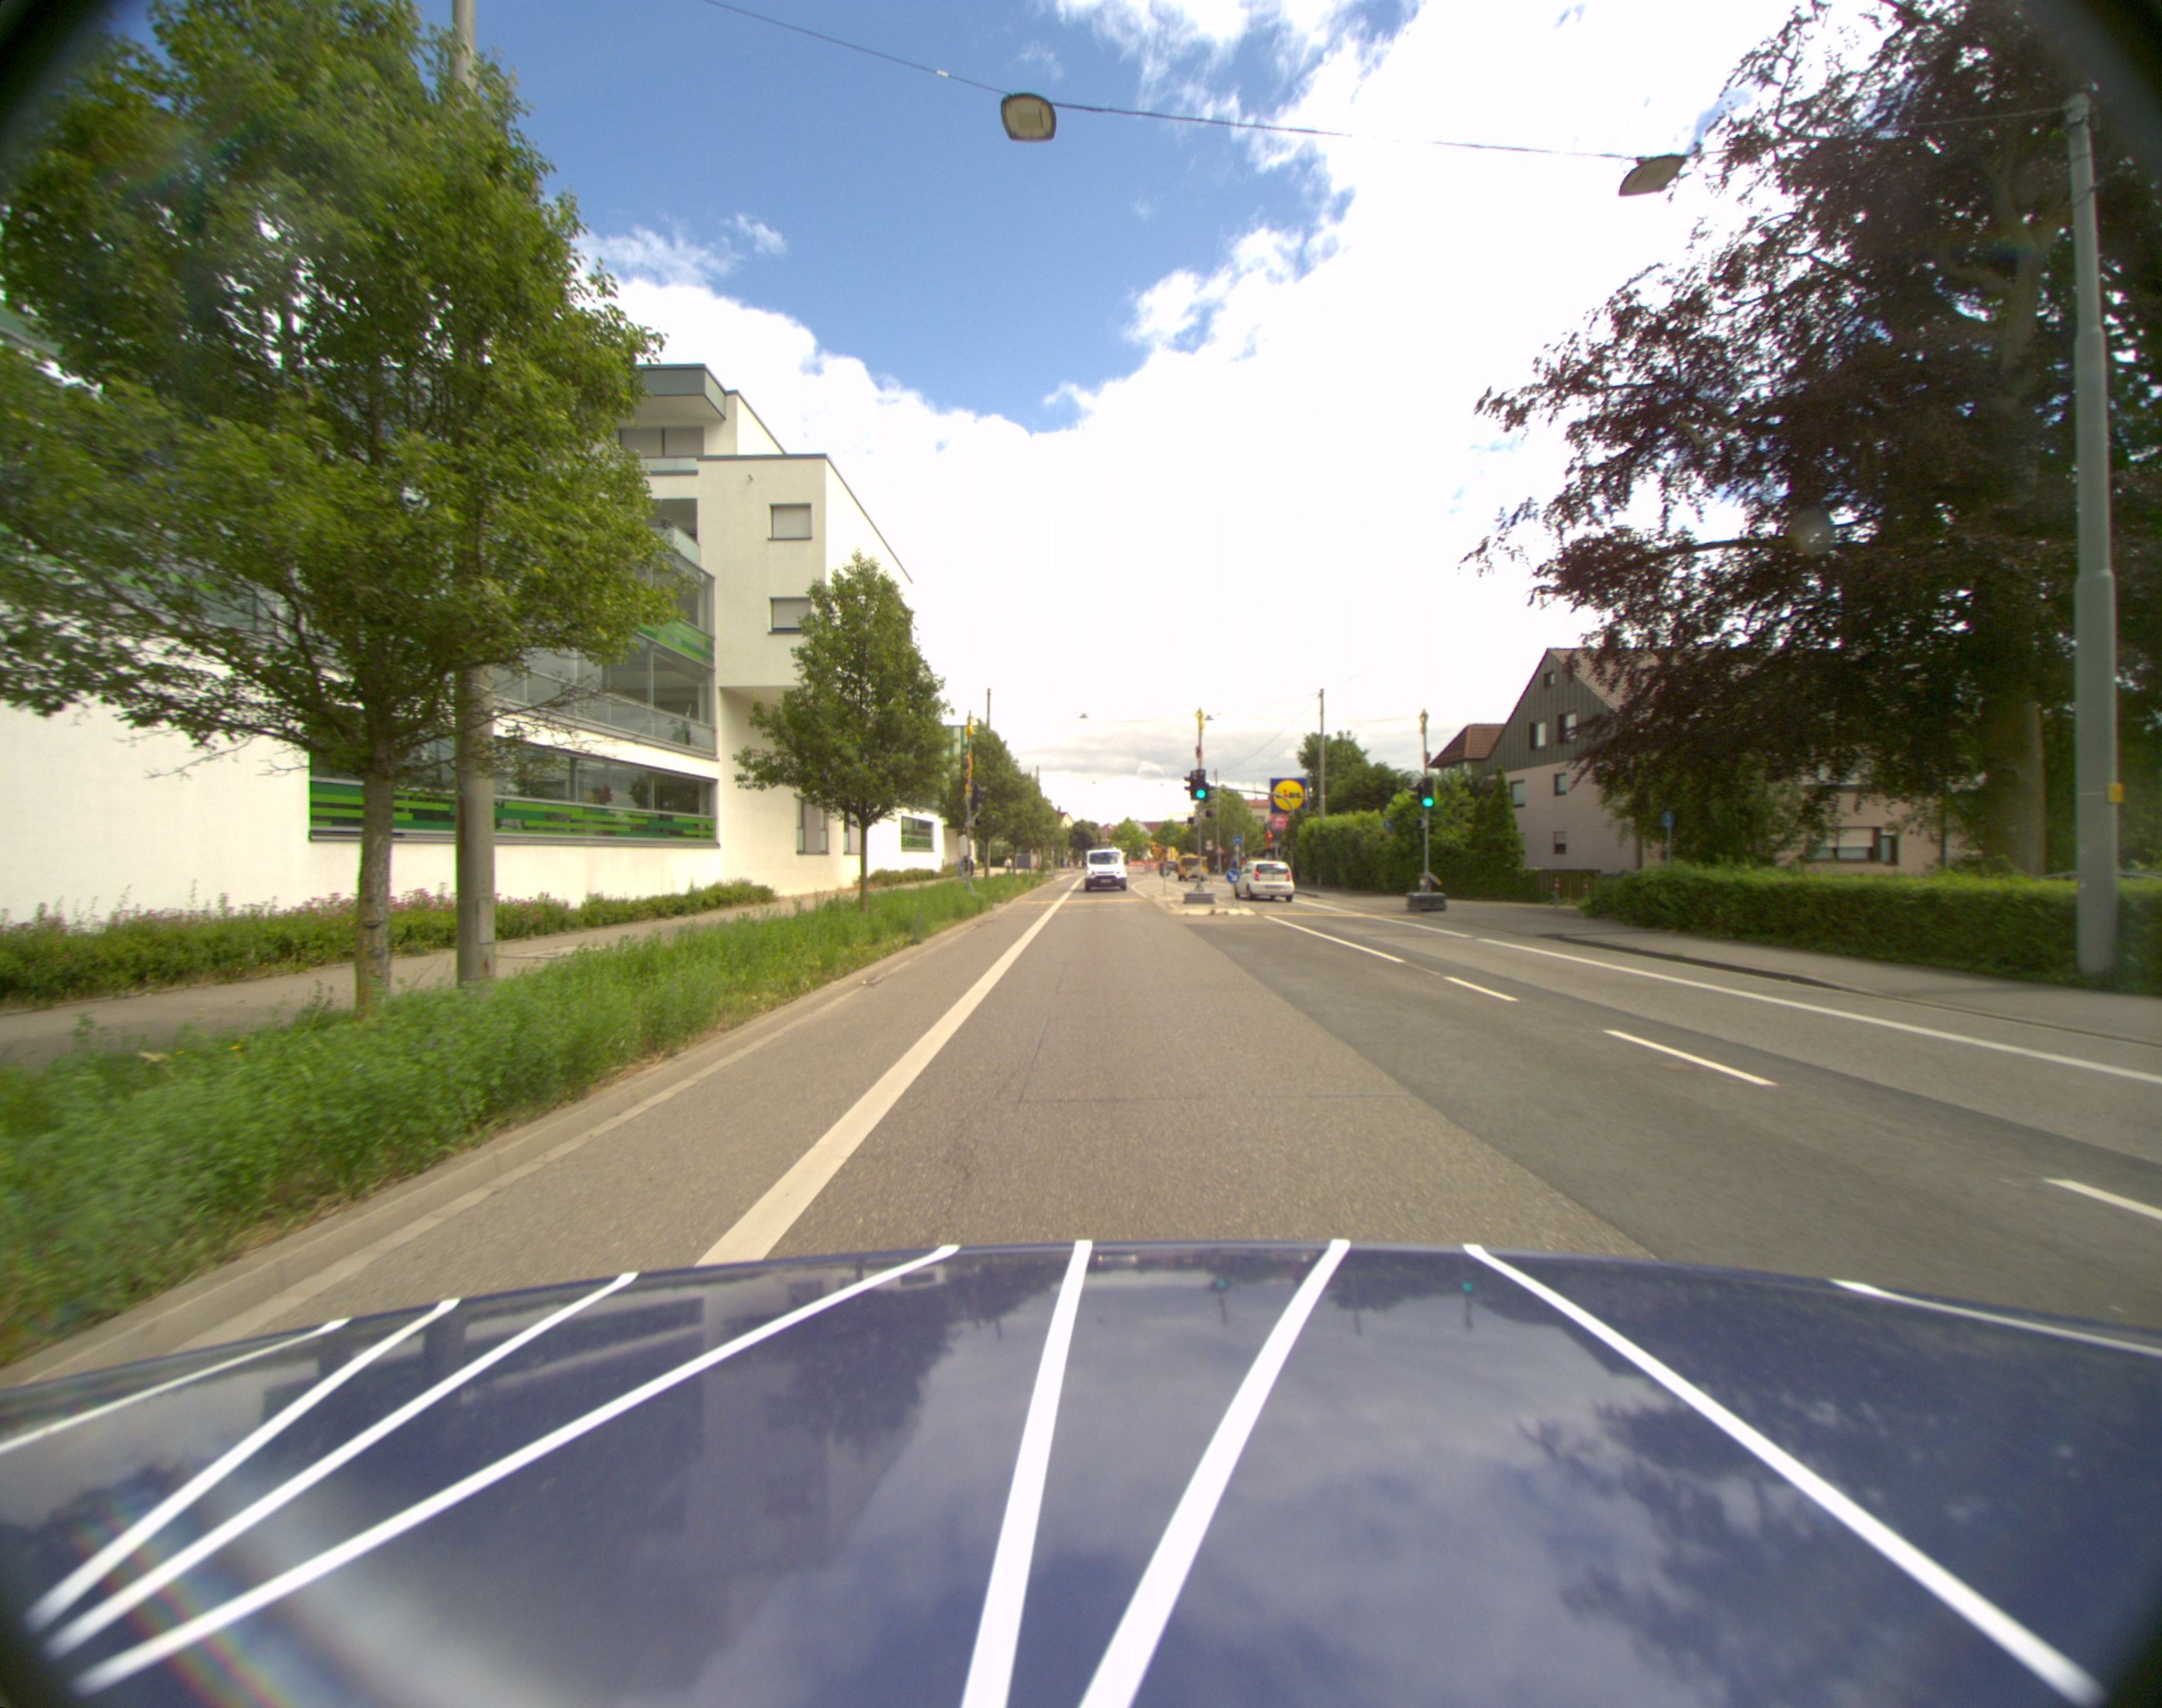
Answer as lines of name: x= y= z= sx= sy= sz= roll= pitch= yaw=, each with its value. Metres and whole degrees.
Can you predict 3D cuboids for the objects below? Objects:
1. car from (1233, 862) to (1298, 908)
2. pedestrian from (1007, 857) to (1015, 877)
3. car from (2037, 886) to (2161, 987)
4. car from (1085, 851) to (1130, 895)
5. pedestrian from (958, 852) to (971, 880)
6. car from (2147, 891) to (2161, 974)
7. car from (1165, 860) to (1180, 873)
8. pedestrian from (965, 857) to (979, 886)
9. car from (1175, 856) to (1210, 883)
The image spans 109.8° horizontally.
car: x=6.938 y=1.139 z=28.881 sx=1.611 sy=1.510 sz=3.240 roll=2 pitch=1 yaw=0
pedestrian: x=-5.862 y=1.089 z=63.530 sx=0.559 sy=1.649 sz=0.607 roll=-2 pitch=1 yaw=1
car: x=16.383 y=1.254 z=10.527 sx=1.665 sy=1.380 sz=3.522 roll=2 pitch=0 yaw=-5
car: x=1.213 y=0.827 z=35.970 sx=1.998 sy=1.905 sz=4.000 roll=-1 pitch=1 yaw=1
pedestrian: x=-7.608 y=0.772 z=49.694 sx=0.621 sy=1.830 sz=0.588 roll=-3 pitch=1 yaw=-25
car: x=19.096 y=1.346 z=11.187 sx=1.743 sy=1.380 sz=3.522 roll=1 pitch=0 yaw=-4
car: x=12.662 y=1.713 z=105.519 sx=1.872 sy=1.608 sz=4.001 roll=-2 pitch=1 yaw=5
pedestrian: x=-7.074 y=1.119 z=49.363 sx=0.742 sy=1.875 sz=0.702 roll=-2 pitch=1 yaw=-2
car: x=7.994 y=1.074 z=54.163 sx=1.996 sy=1.774 sz=4.004 roll=-2 pitch=1 yaw=14
